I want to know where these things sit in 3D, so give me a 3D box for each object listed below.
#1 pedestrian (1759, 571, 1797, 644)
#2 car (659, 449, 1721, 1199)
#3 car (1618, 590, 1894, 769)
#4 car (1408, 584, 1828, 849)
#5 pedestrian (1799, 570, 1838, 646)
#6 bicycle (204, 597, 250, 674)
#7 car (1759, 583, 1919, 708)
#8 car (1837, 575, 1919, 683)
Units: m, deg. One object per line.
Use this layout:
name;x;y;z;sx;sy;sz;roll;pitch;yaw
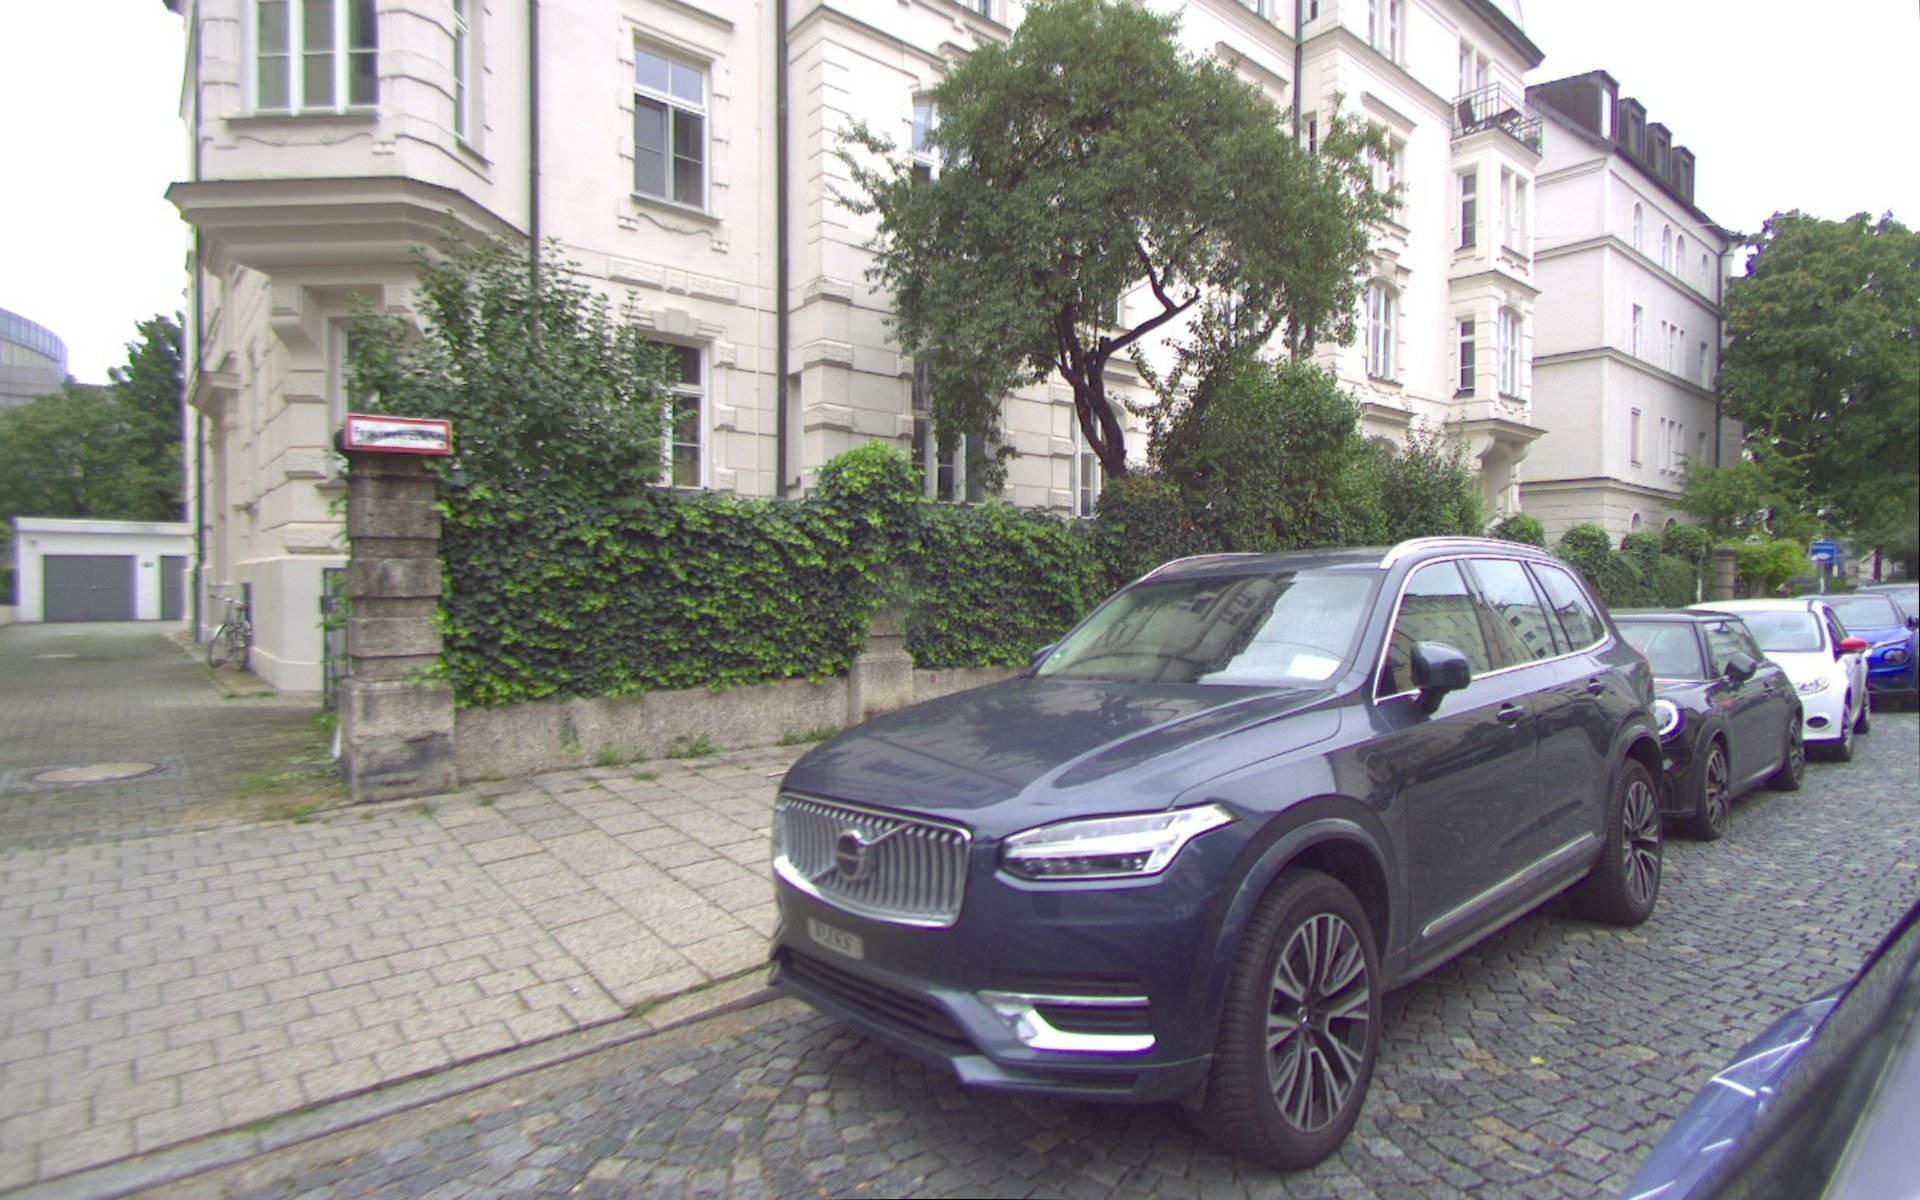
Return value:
pedestrian;20.768;0.189;25.709;0.624;1.831;0.654;0;0;26
car;1.446;0.552;4.303;4.869;1.781;1.966;-1;1;-42
car;8.488;0.645;10.634;4.320;1.447;1.774;-1;1;-45
car;5.120;0.654;7.668;3.898;1.471;1.685;-1;0;-42
pedestrian;21.429;0.181;25.249;0.668;1.873;0.578;-1;0;-33
bicycle;-10.066;0.461;13.884;0.408;0.998;1.482;-1;1;-39
car;12.729;0.544;14.236;4.179;1.501;1.710;-1;-1;-44
car;17.039;0.411;17.693;5.396;1.693;1.878;-1;1;-41
